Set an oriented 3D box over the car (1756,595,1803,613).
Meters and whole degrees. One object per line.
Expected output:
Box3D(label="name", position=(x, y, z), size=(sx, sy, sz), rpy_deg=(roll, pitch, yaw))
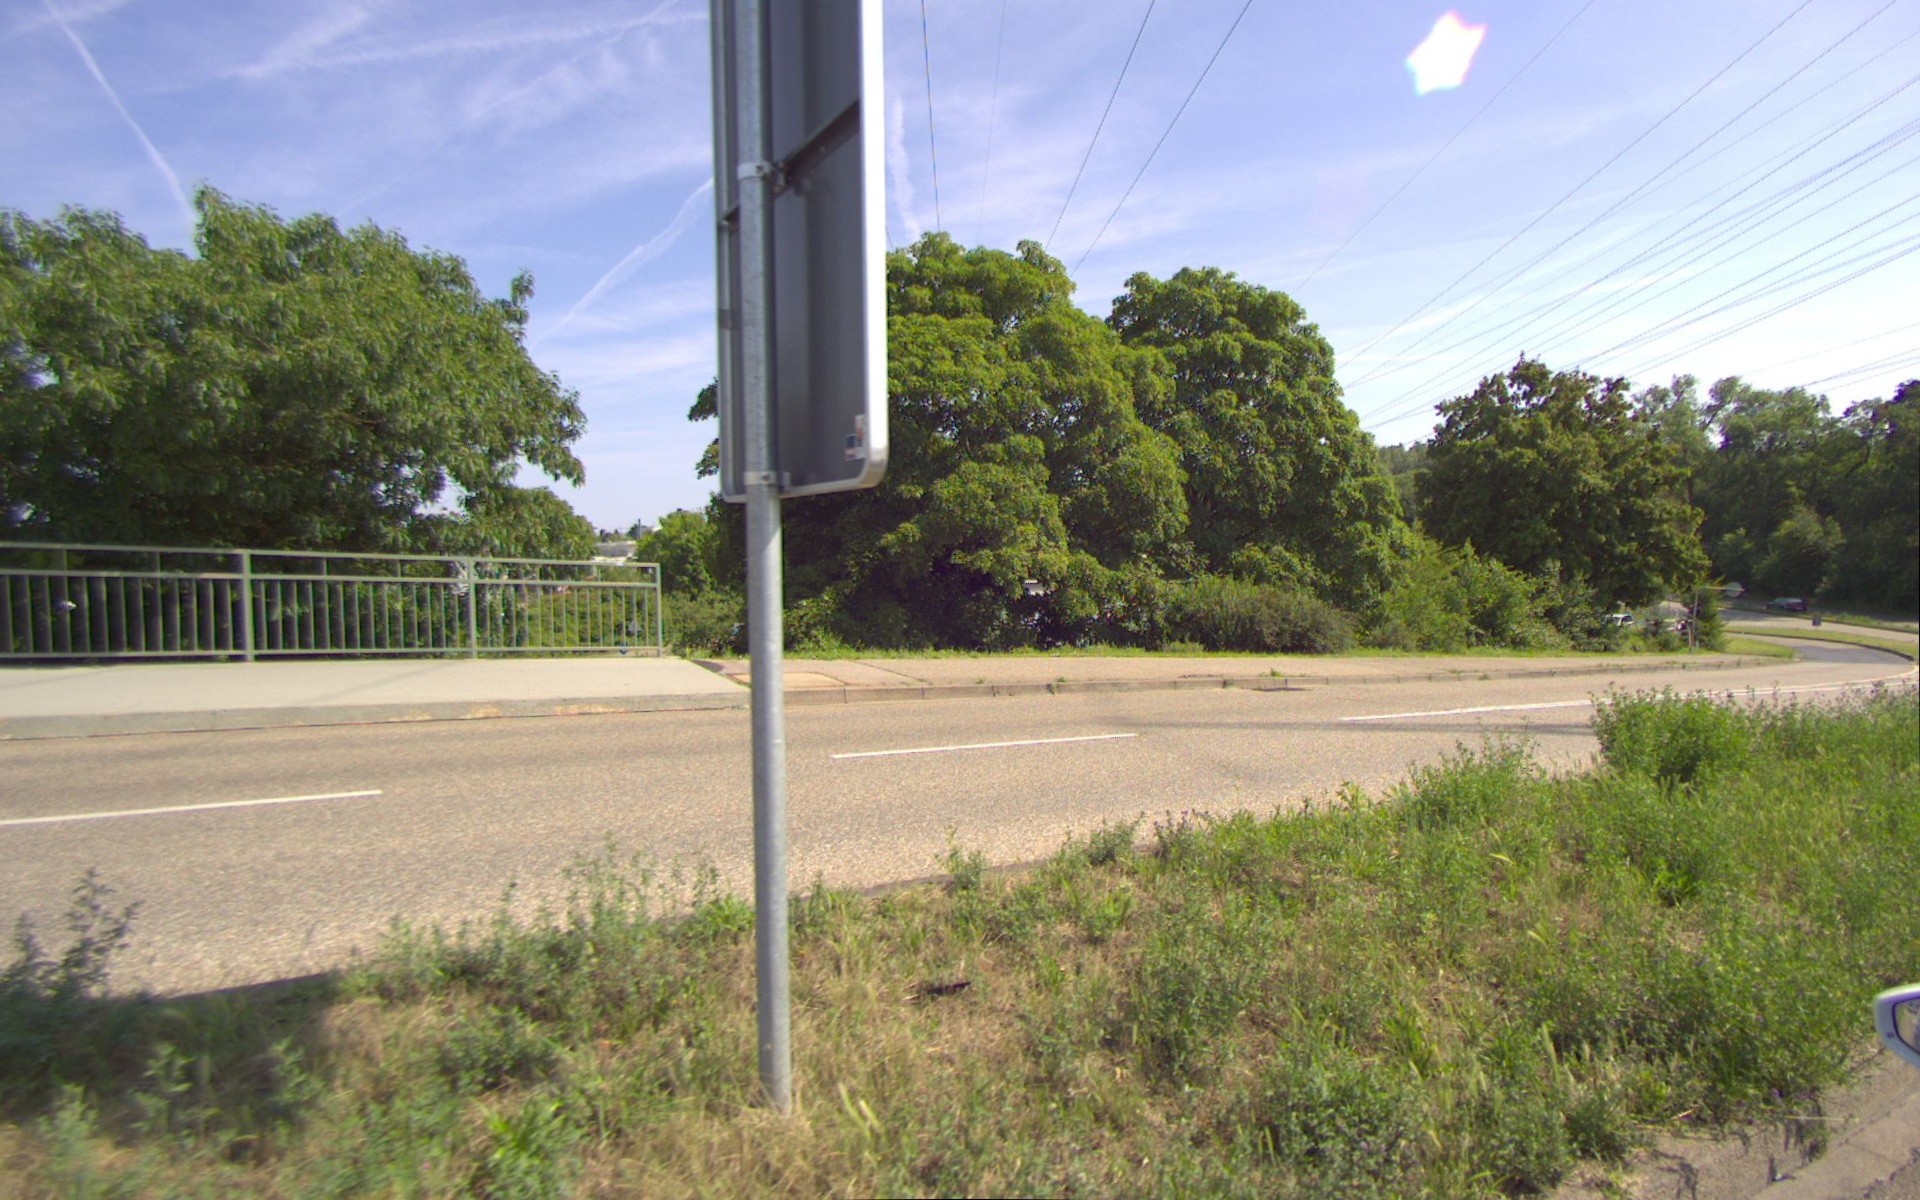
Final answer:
Box3D(label="car", position=(79.539, 0.413, 97.580), size=(1.619, 1.588, 3.656), rpy_deg=(-1, 2, 1))
